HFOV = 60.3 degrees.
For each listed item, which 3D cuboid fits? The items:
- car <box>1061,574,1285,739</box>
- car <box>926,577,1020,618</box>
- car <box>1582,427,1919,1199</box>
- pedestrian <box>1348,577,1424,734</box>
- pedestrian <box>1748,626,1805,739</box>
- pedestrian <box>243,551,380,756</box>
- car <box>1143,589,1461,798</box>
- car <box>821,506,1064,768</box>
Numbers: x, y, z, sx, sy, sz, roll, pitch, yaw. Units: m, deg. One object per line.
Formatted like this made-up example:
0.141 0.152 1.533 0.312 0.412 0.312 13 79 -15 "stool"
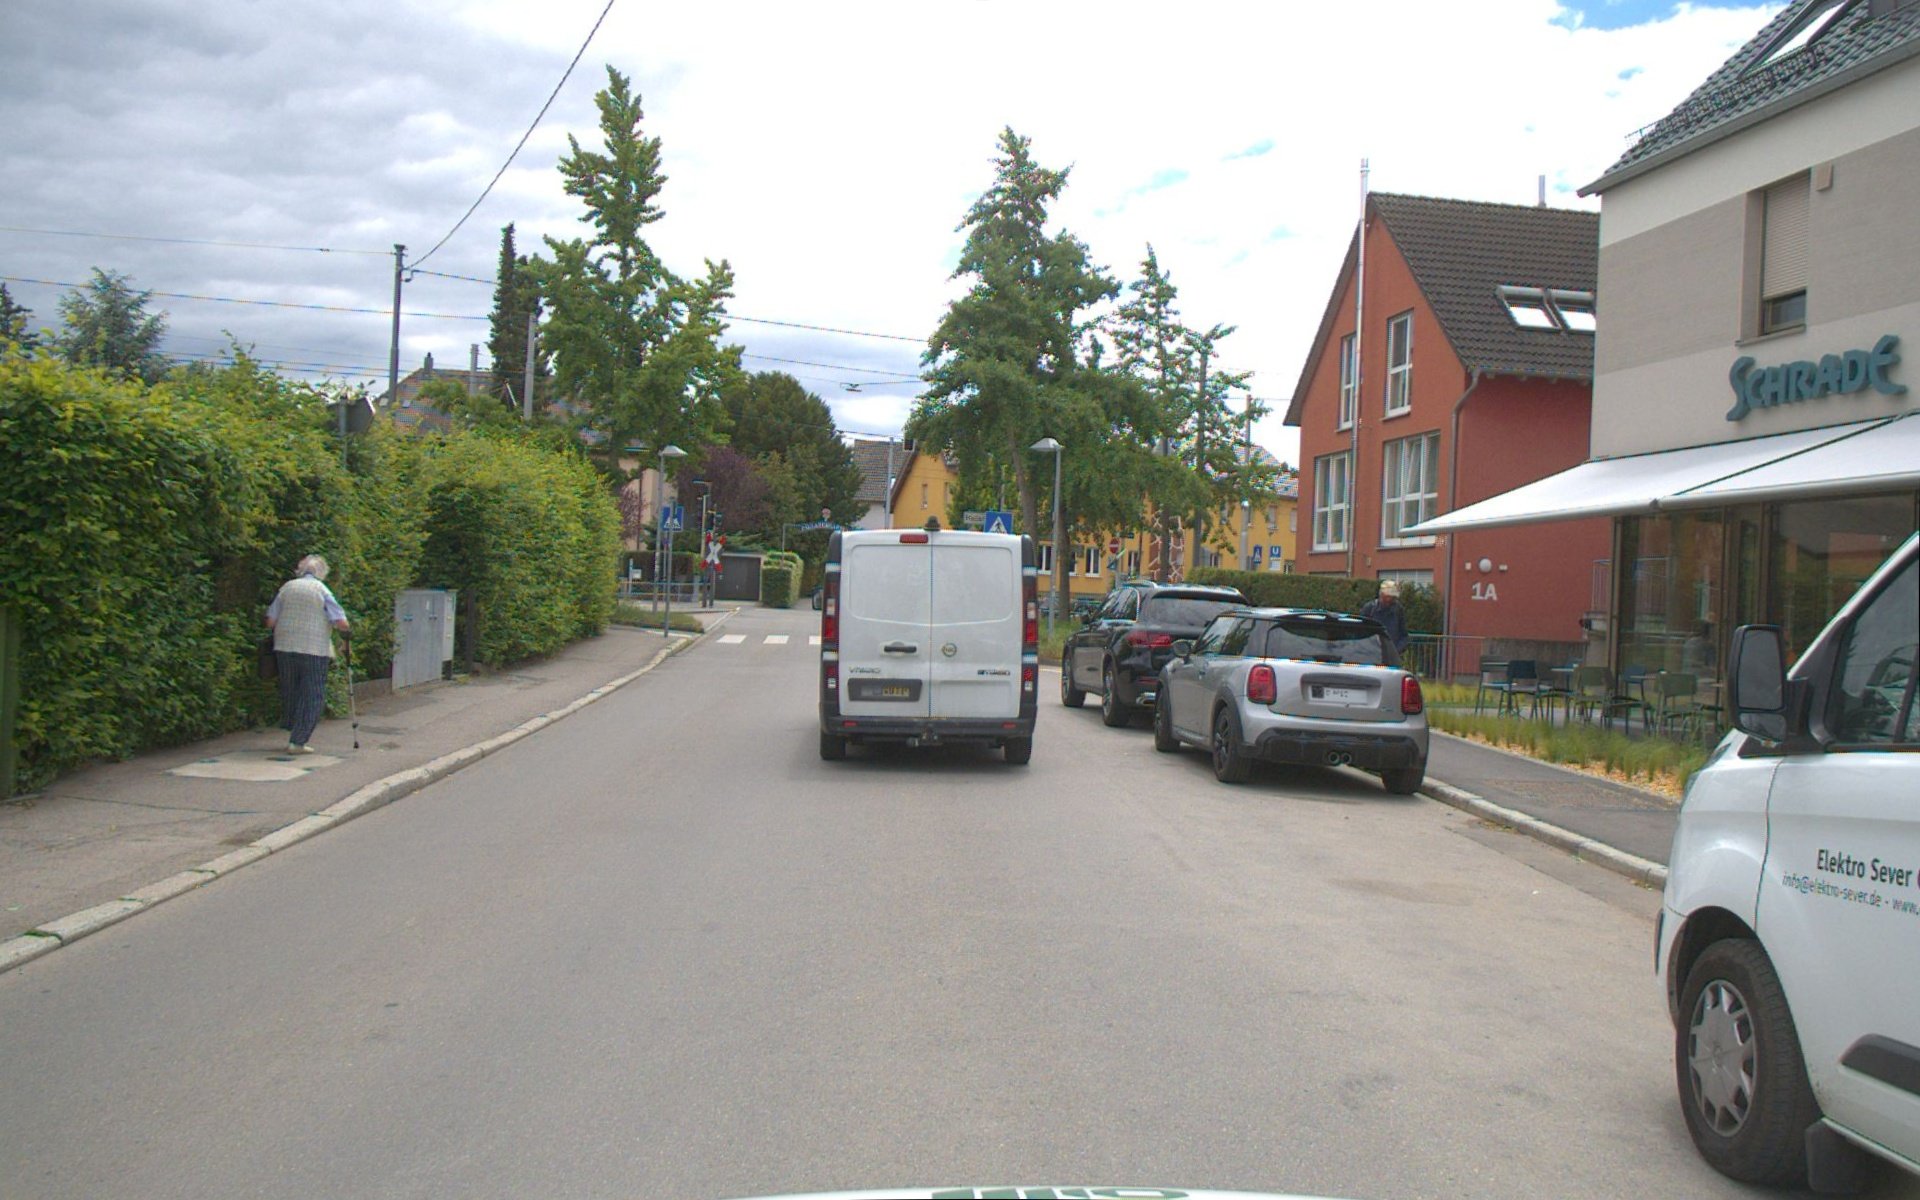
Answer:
2.405 0.584 19.766 1.669 1.642 4.254 4 0 -5 "car"
0.601 -0.117 76.160 3.885 1.563 1.898 5 -1 -34 "car"
3.213 0.633 3.080 1.920 1.949 4.898 4 0 -3 "car"
4.616 0.591 17.935 0.578 1.634 0.529 4 -1 -1 "pedestrian"
8.858 0.891 17.942 0.413 1.202 0.324 2 -1 -5 "pedestrian"
-5.024 0.410 12.825 0.864 1.511 0.452 5 -1 -23 "pedestrian"
2.896 0.741 14.802 1.708 1.520 3.651 4 0 -5 "car"
-0.291 0.269 15.382 1.878 2.037 4.434 2 1 -4 "car"
